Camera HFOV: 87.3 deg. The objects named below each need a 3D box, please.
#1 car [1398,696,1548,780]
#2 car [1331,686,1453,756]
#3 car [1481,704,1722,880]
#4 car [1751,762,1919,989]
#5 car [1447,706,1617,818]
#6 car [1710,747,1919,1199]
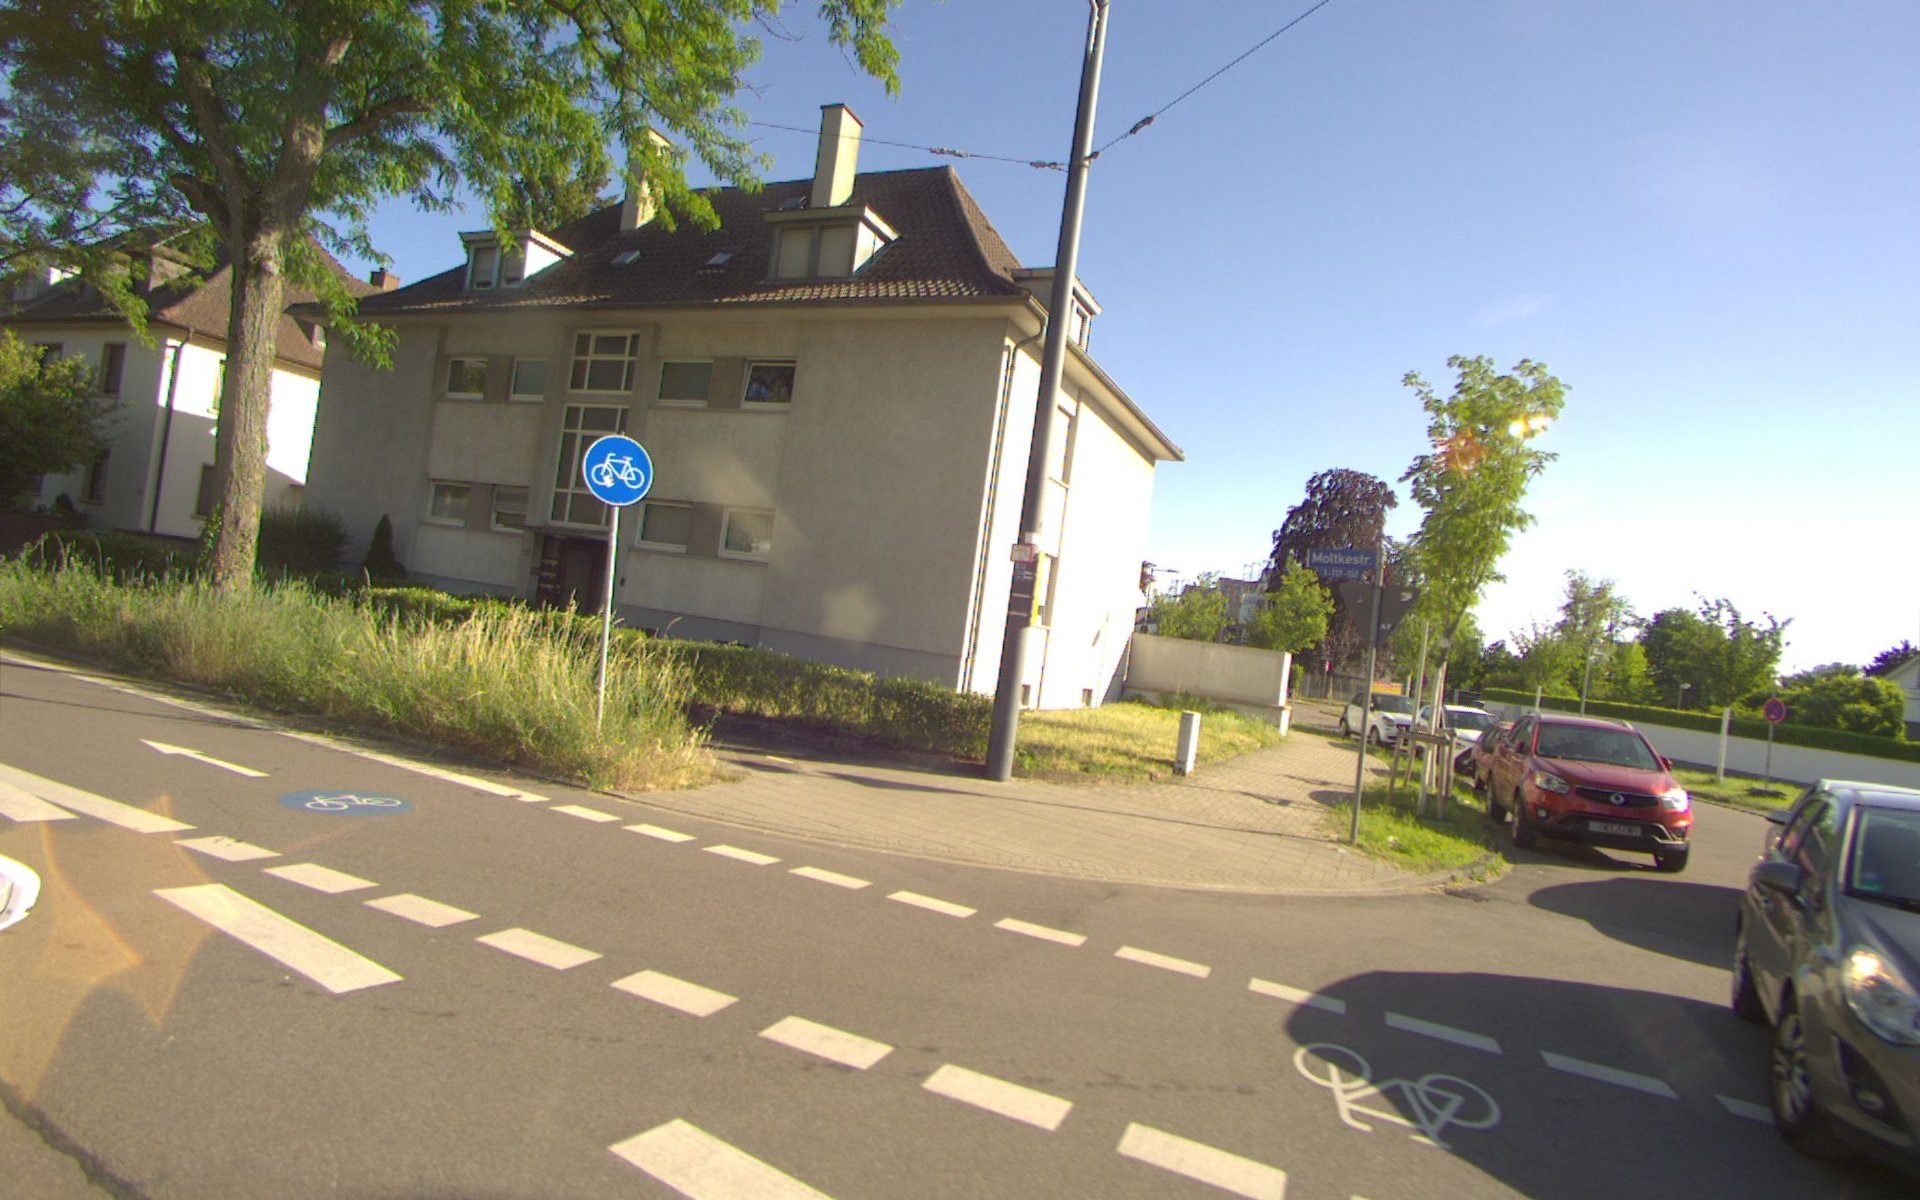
[{"bbox_3d":[12.640,3.356,25.110,1.944,1.524,4.183,8,-3,9],"label":"car"},{"bbox_3d":[12.736,3.534,29.959,1.963,1.590,4.008,9,-4,5],"label":"car"},{"bbox_3d":[8.335,2.389,13.507,1.946,1.660,4.179,7,-3,24],"label":"car"},{"bbox_3d":[8.686,2.431,9.299,1.953,1.482,4.605,5,-4,37],"label":"car"},{"bbox_3d":[10.509,2.909,18.831,1.945,1.524,4.181,7,-3,21],"label":"car"},{"bbox_3d":[4.730,1.585,4.480,1.951,1.525,3.992,7,-3,35],"label":"car"}]
